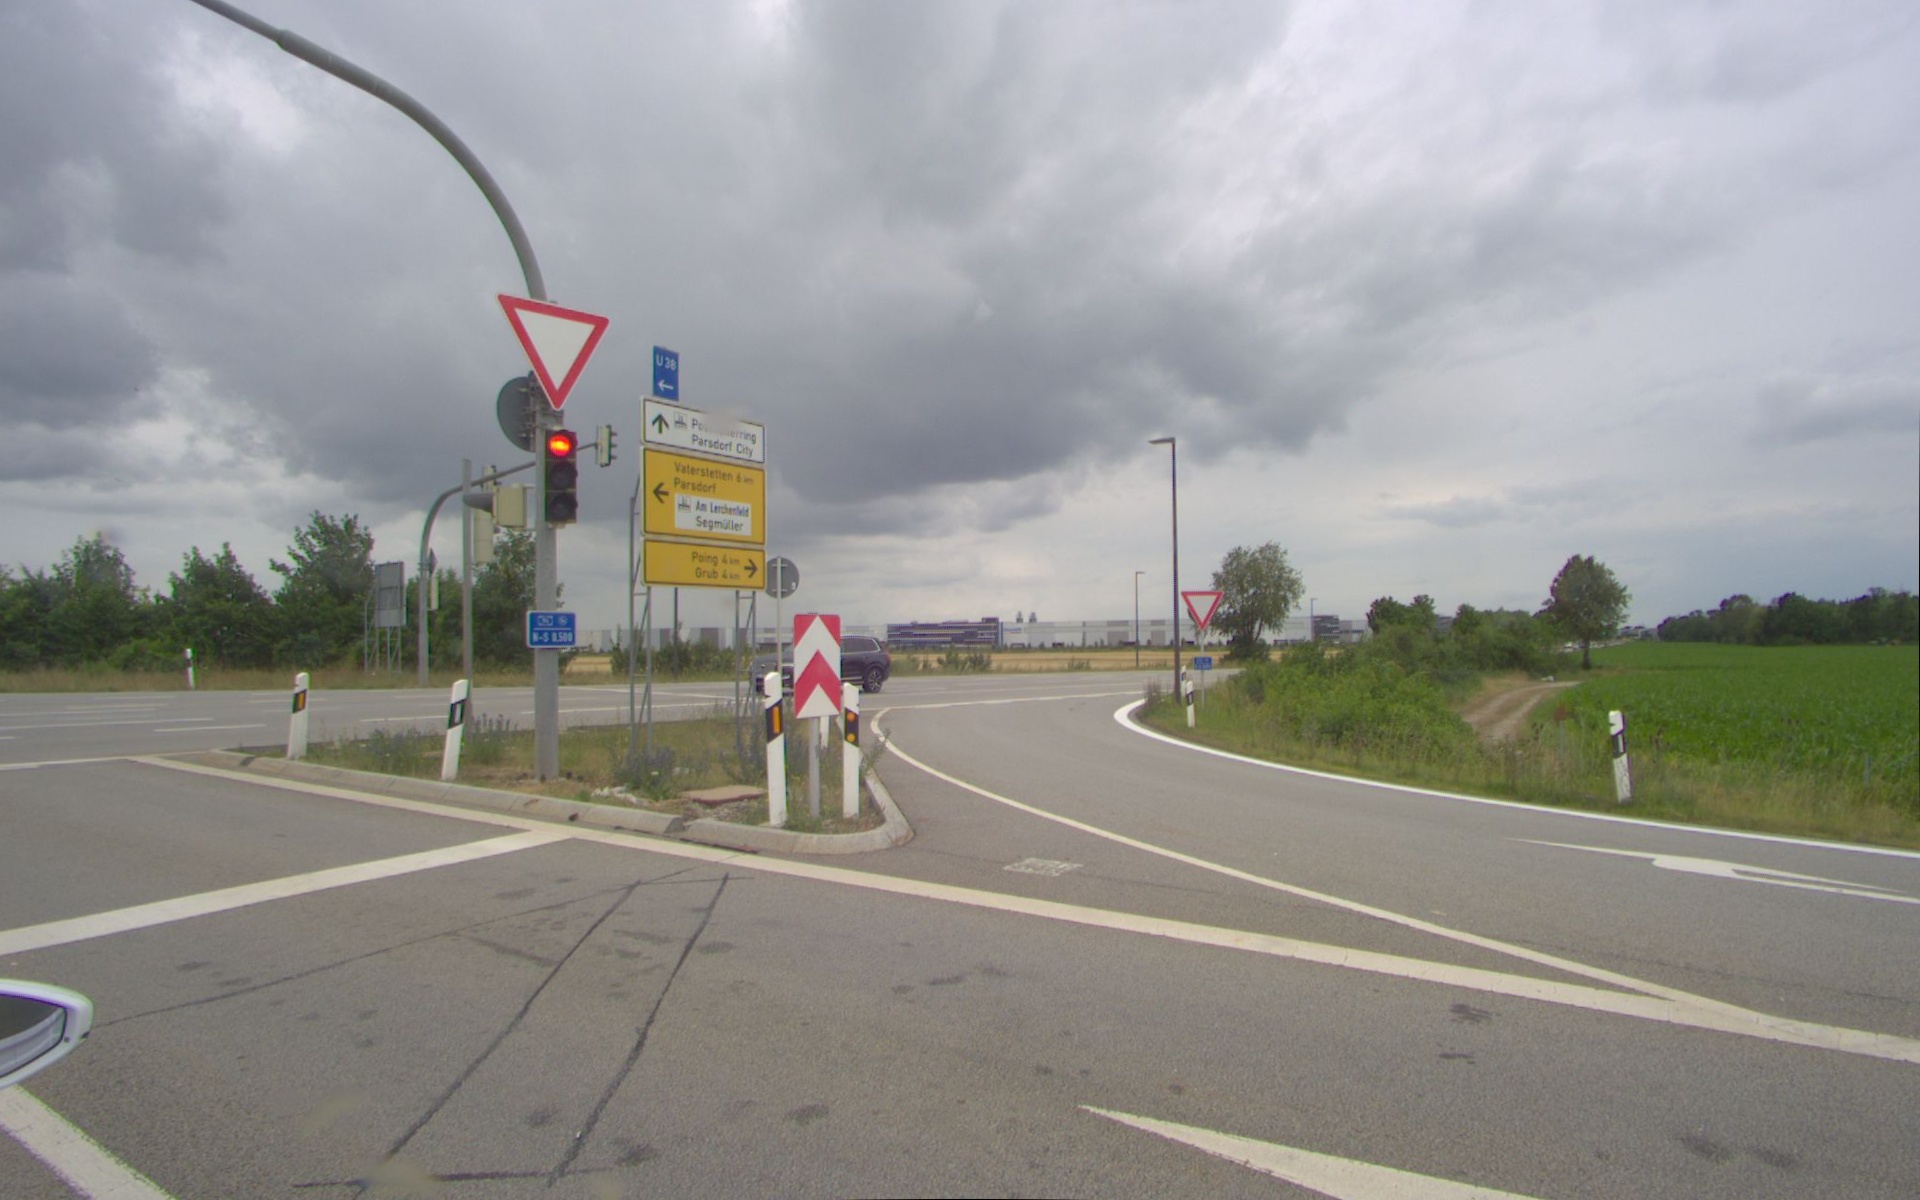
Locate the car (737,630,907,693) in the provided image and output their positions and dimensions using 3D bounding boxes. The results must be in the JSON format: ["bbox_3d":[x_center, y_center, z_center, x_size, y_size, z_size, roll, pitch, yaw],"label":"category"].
[{"bbox_3d":[-3.985,1.798,29.731,1.977,1.705,4.961,-2,-3,41],"label":"car"}]
